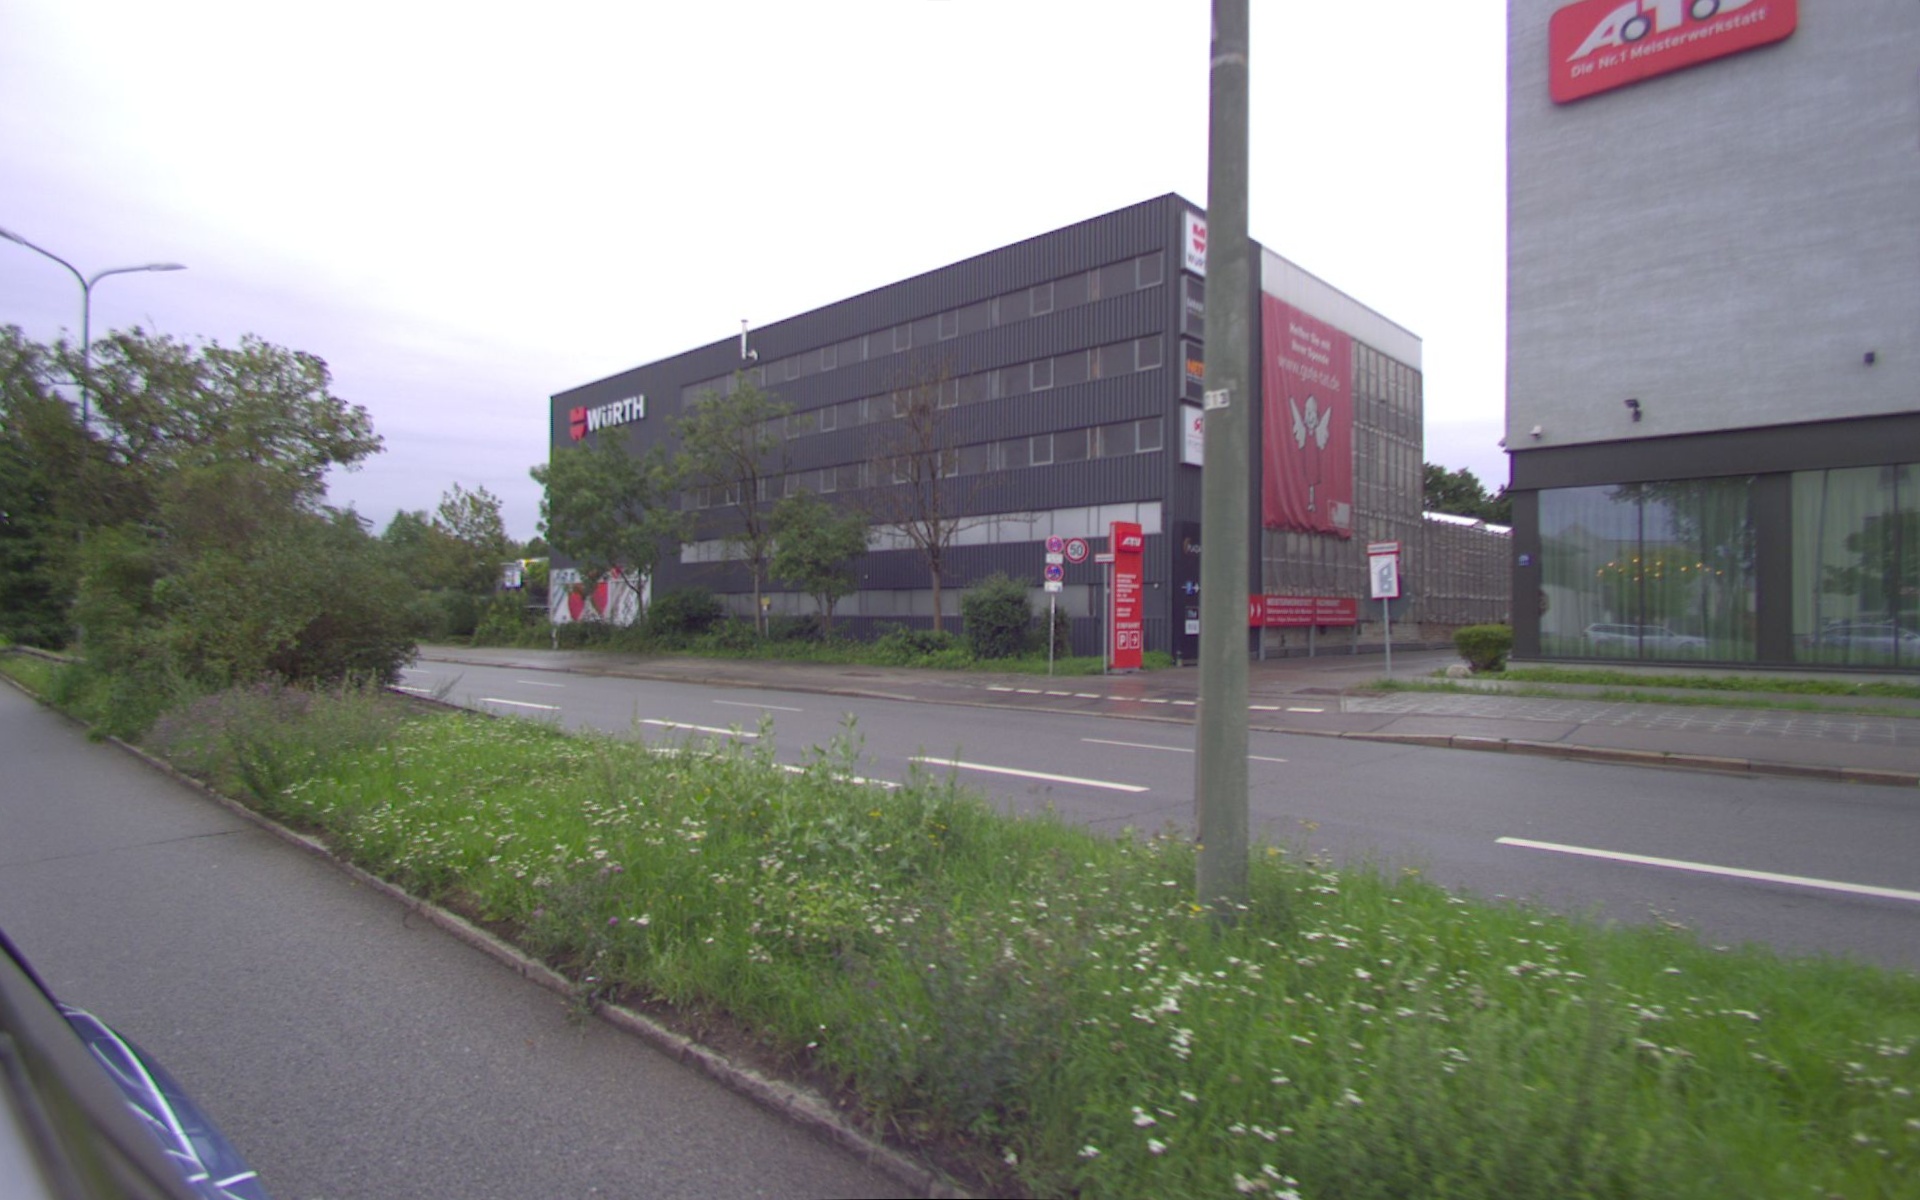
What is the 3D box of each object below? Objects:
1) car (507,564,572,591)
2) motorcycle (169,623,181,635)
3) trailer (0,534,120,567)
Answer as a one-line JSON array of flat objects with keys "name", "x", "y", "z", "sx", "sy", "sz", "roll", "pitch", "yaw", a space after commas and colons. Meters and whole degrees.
[{"name": "car", "x": -37.066, "y": -1.993, "z": 89.211, "sx": 2.136, "sy": 2.029, "sz": 4.729, "roll": 3, "pitch": -1, "yaw": 43}, {"name": "motorcycle", "x": -74.824, "y": 2.758, "z": 96.492, "sx": 2.195, "sy": 1.185, "sz": 0.527, "roll": 0, "pitch": -1, "yaw": 43}, {"name": "trailer", "x": -112.239, "y": -6.101, "z": 124.893, "sx": 13.842, "sy": 3.323, "sz": 2.670, "roll": 3, "pitch": -1, "yaw": -6}]
